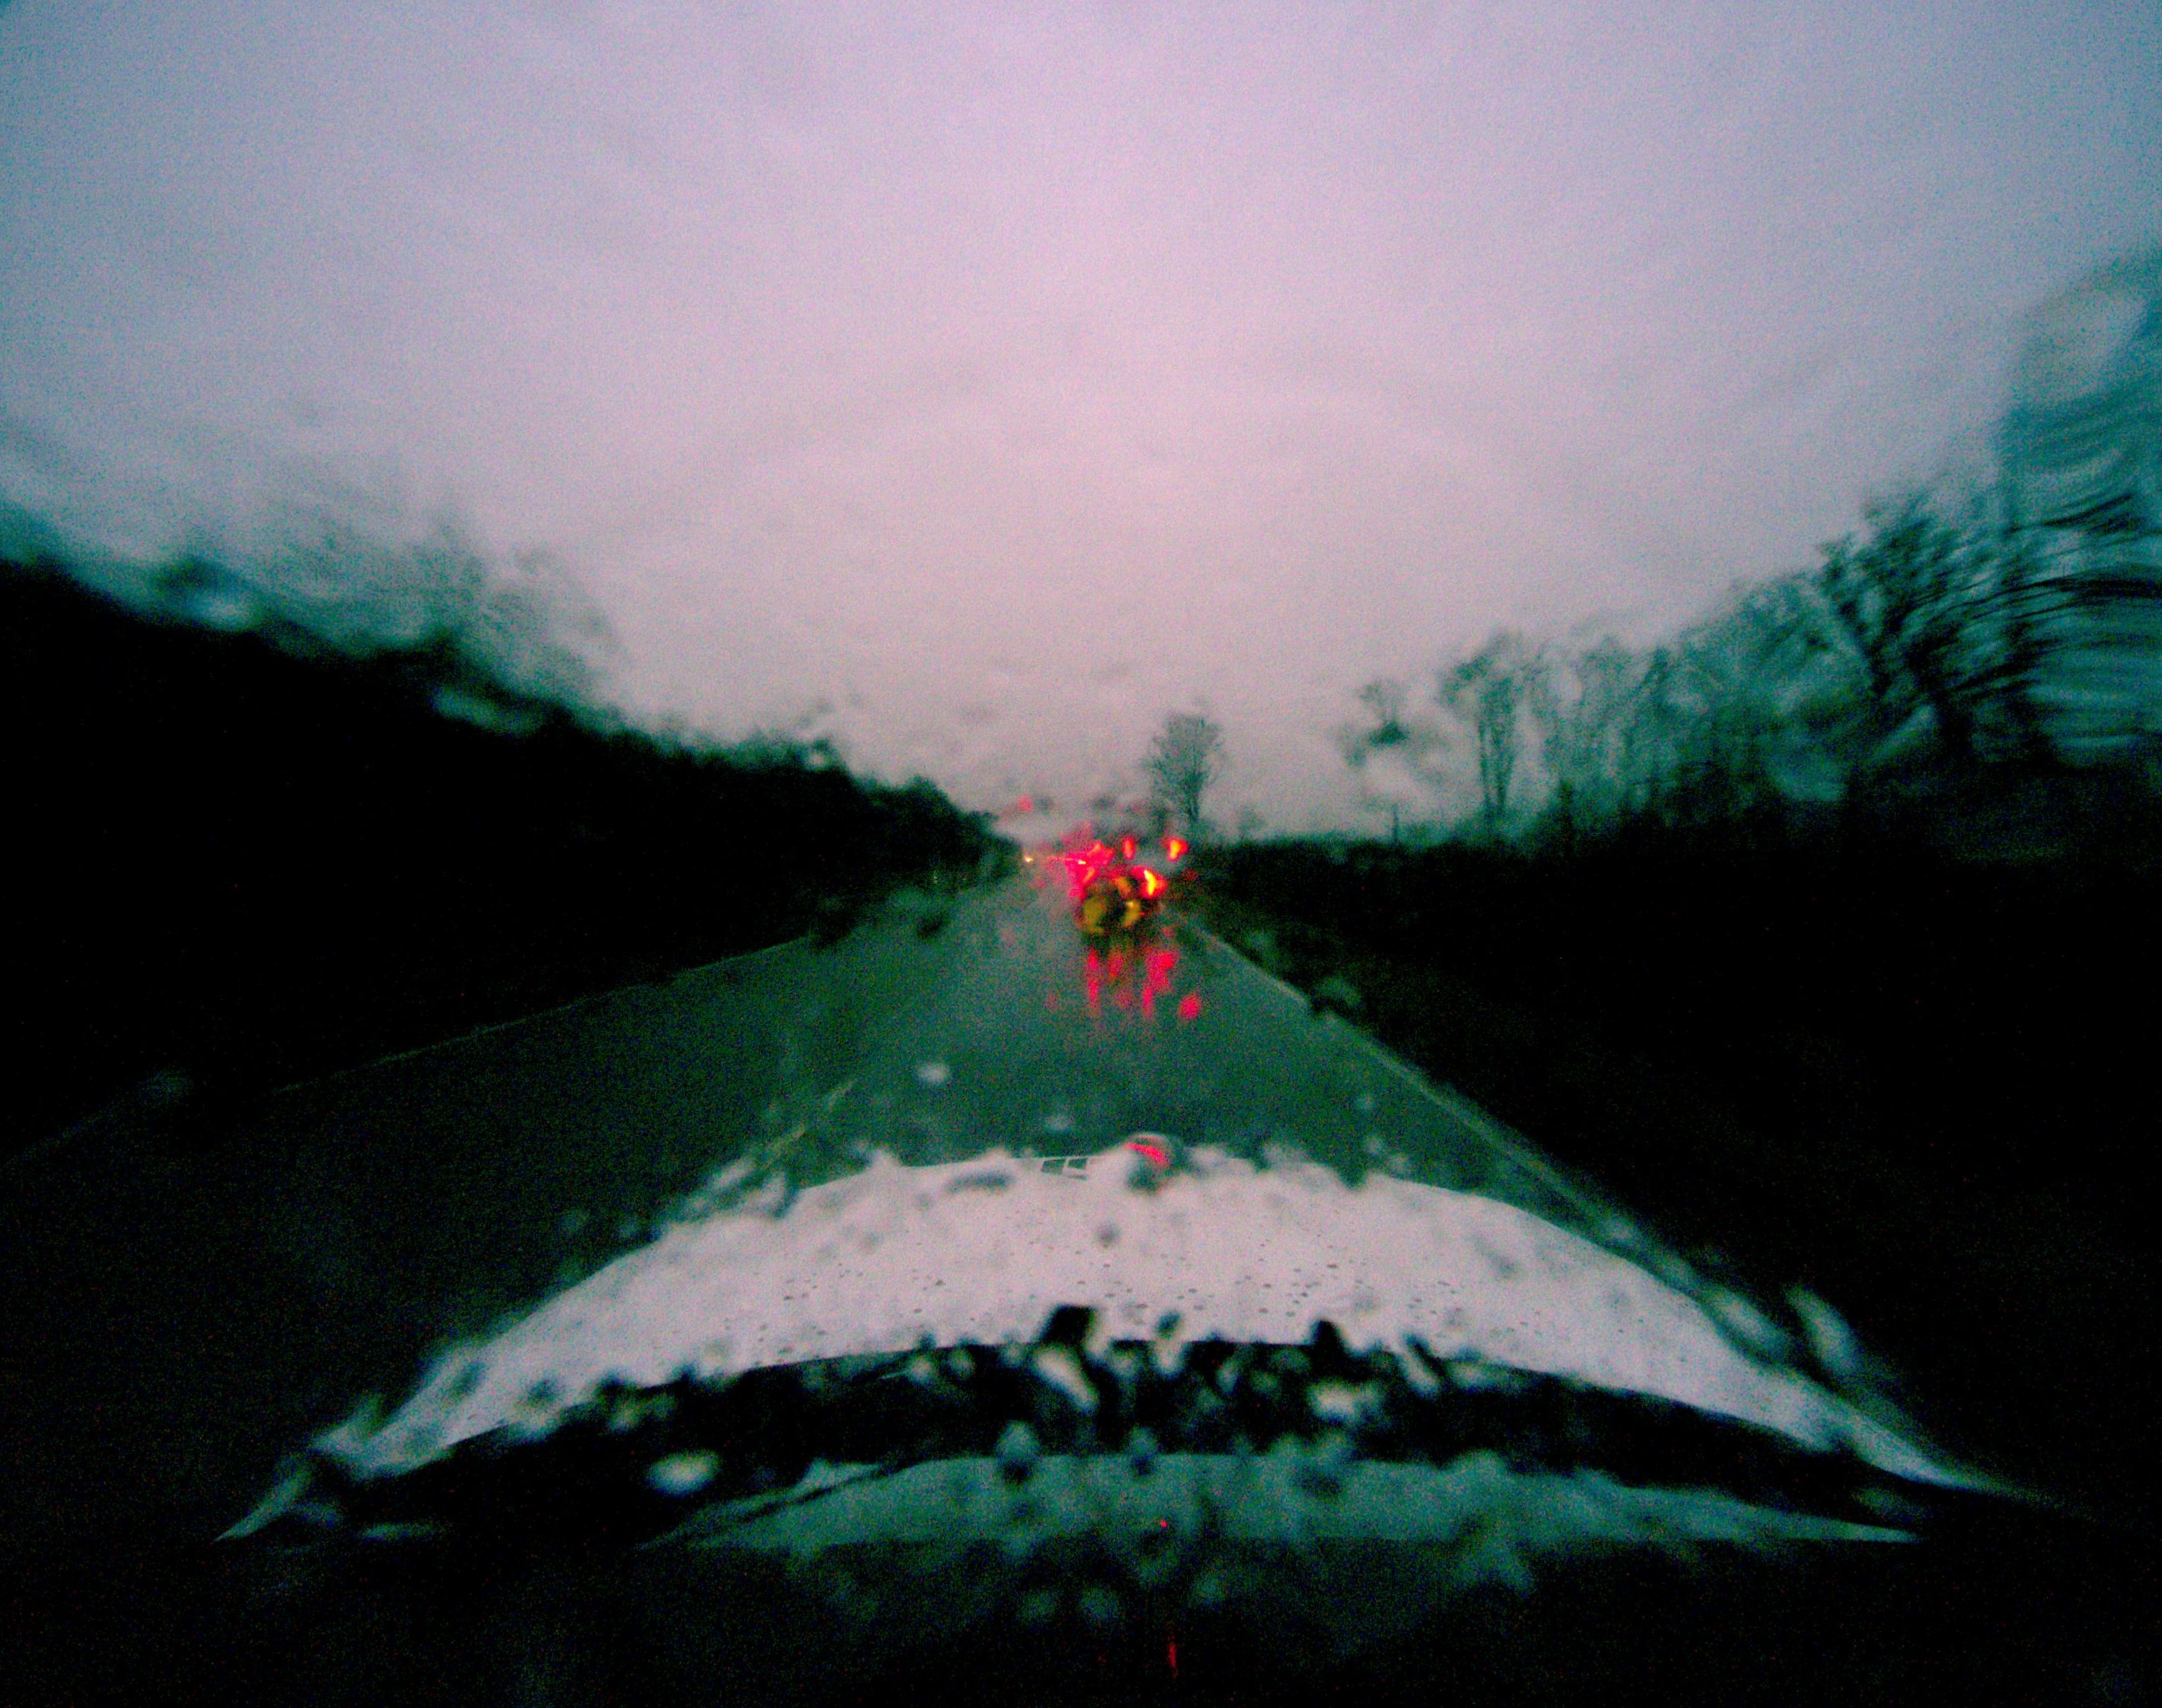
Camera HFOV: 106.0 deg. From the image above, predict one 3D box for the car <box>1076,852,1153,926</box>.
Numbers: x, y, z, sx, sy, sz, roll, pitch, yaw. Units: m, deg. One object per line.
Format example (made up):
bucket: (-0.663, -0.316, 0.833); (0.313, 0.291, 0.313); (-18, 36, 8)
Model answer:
car: (0.835, 0.728, 18.813); (1.595, 1.522, 3.874); (-1, 0, 4)

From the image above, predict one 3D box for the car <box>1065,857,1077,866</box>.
car: (-1.691, 1.297, 138.933); (1.539, 1.396, 3.875); (-1, 0, 5)

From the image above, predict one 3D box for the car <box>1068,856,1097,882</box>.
car: (0.117, 0.830, 46.298); (1.541, 1.396, 3.870); (-1, 0, 1)
